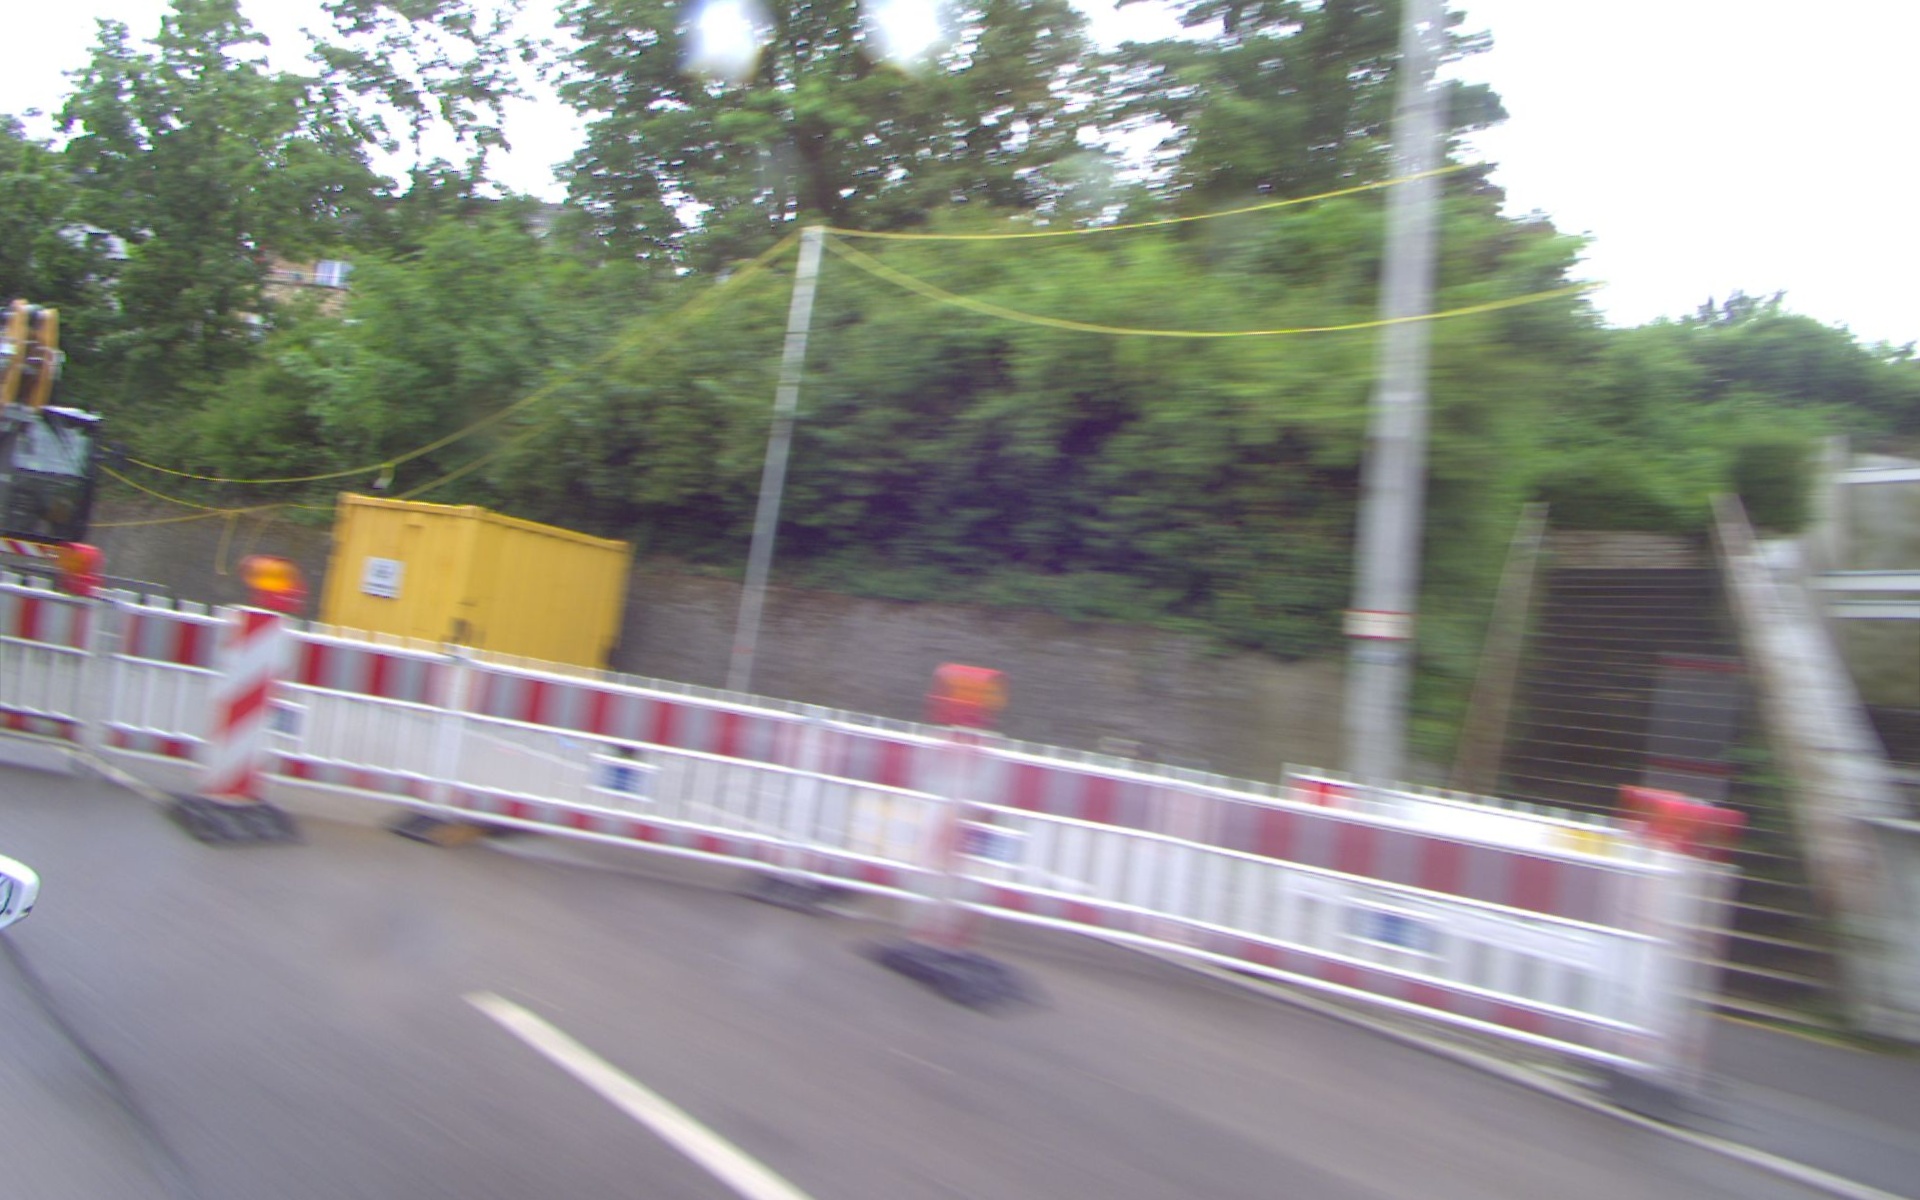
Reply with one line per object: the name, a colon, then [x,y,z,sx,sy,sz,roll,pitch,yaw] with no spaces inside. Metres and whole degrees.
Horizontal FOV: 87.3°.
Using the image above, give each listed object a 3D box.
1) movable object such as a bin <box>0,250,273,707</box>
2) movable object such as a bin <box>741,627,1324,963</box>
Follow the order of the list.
movable object such as a bin: [-11.510,-1.395,11.551,7.204,4.059,2.826,7,-2,31]
movable object such as a bin: [0.490,1.317,7.887,3.936,1.535,1.998,7,-3,35]
